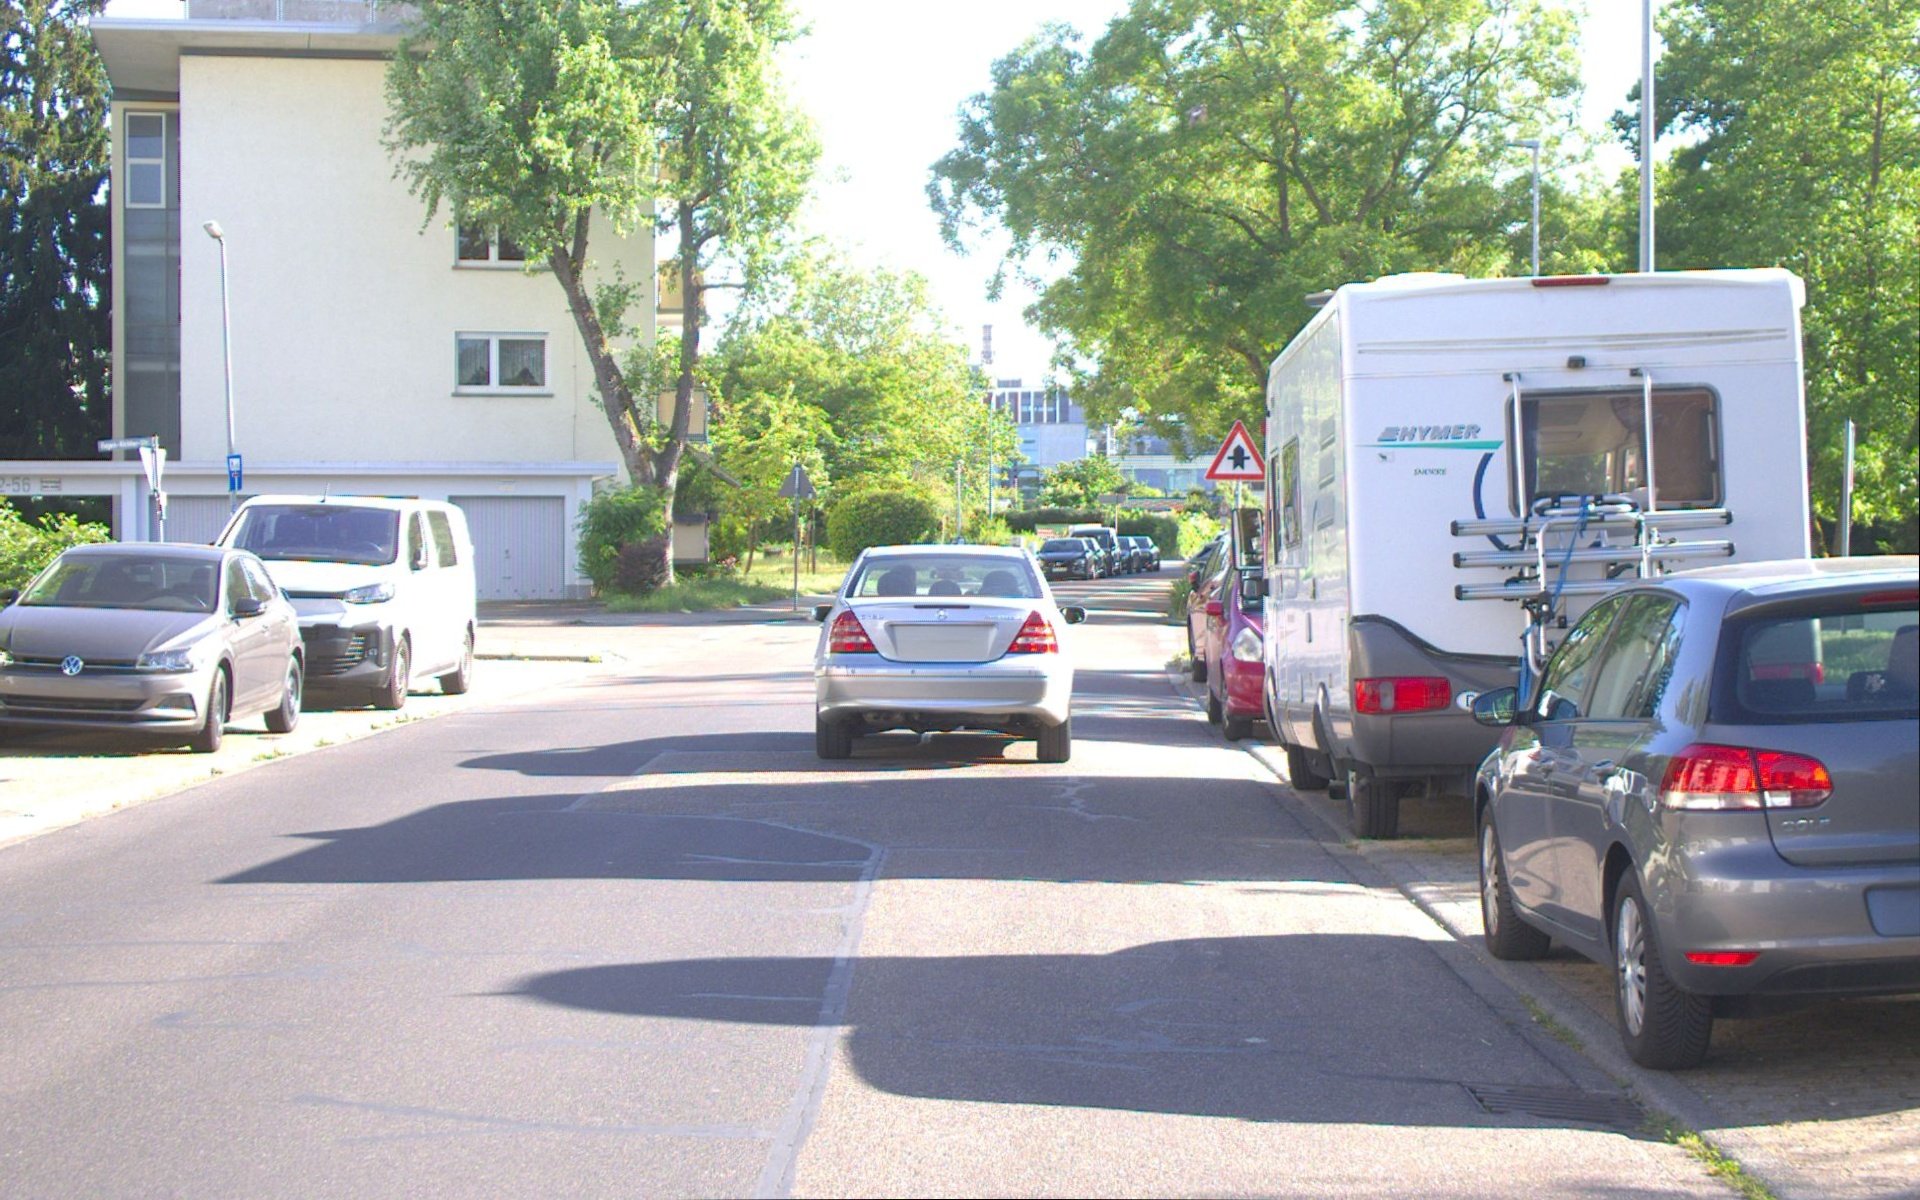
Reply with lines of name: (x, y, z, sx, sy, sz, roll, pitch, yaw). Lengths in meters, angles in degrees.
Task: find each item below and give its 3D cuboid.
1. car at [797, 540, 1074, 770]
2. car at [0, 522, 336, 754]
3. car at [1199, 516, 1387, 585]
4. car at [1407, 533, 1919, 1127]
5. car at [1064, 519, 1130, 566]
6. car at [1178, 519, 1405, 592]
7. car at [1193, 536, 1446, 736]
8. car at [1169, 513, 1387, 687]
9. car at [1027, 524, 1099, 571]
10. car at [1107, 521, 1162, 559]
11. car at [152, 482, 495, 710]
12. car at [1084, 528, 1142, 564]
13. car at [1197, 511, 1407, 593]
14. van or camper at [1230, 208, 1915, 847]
car: (-0.110, 0.327, 23.433, 1.733, 1.429, 3.438, 1, 1, 2)
car: (-5.939, 0.215, 25.194, 1.833, 1.513, 4.221, 2, 1, 1)
car: (8.842, -1.310, 91.168, 4.885, 1.717, 2.000, -1, 1, 7)
car: (2.747, 0.593, 11.727, 1.720, 1.519, 4.429, -3, 2, -1)
car: (5.134, -2.156, 128.717, 1.751, 1.682, 4.262, -1, 1, 12)
car: (7.068, -0.967, 73.725, 4.782, 1.543, 2.011, 0, 1, 4)
car: (2.820, 0.233, 27.690, 1.691, 1.469, 4.000, 0, 1, 1)
car: (3.340, -0.057, 36.887, 1.775, 1.674, 4.645, -3, 1, -1)
car: (3.519, -1.792, 116.762, 1.914, 1.485, 3.836, -2, 1, 9)
car: (7.200, -2.482, 141.695, 1.751, 1.515, 4.191, -1, 1, 10)
car: (-5.742, -0.083, 31.683, 2.014, 1.879, 5.191, 2, 1, 2)
car: (6.038, -2.120, 135.284, 1.751, 1.325, 3.449, -2, 1, 11)
car: (8.297, -1.178, 83.741, 4.884, 1.917, 2.000, -1, 1, -1)
van or camper: (3.016, -0.415, 18.816, 2.496, 2.835, 6.852, -1, 2, 0)
